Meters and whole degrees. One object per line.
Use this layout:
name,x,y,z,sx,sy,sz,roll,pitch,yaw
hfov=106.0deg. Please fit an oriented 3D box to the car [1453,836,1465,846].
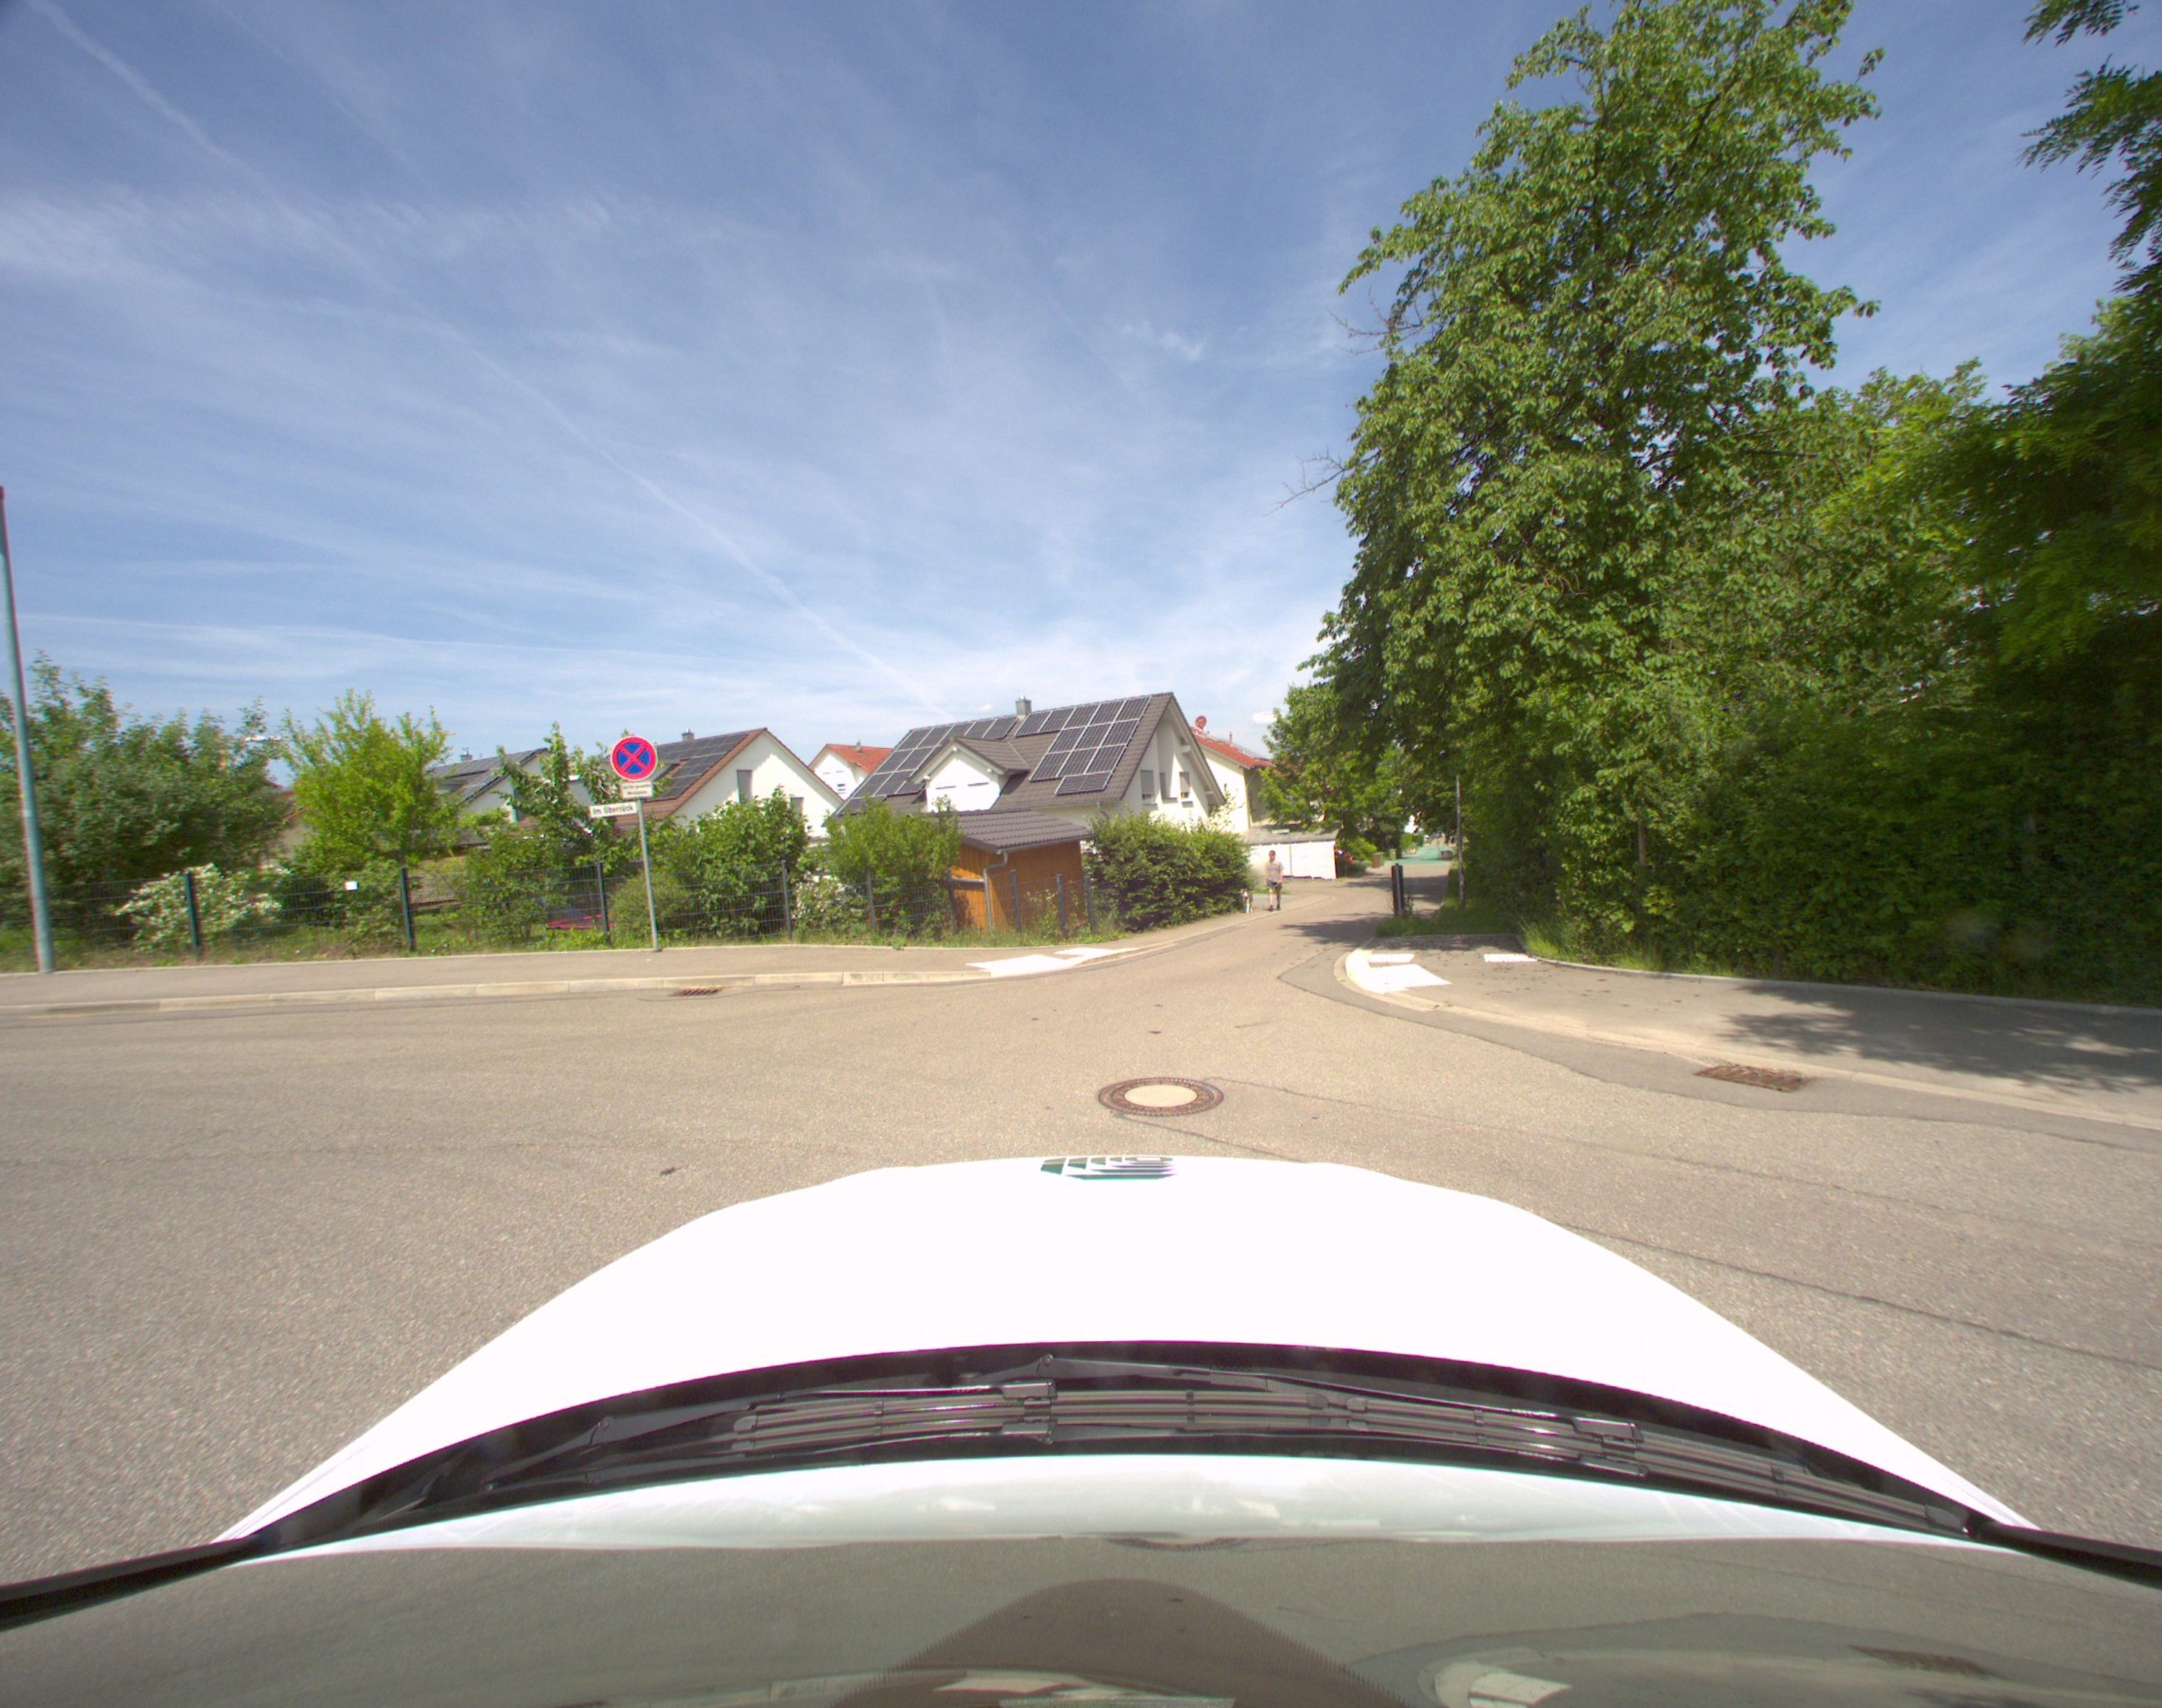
car,66.535,-2.290,143.330,1.564,1.419,3.248,-2,3,22

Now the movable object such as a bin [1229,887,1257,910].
movable object such as a bin,4.786,1.317,24.021,0.543,0.629,1.027,-2,-2,26

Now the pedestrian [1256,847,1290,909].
pedestrian,5.778,0.722,24.536,0.839,1.820,0.839,-2,-3,20
